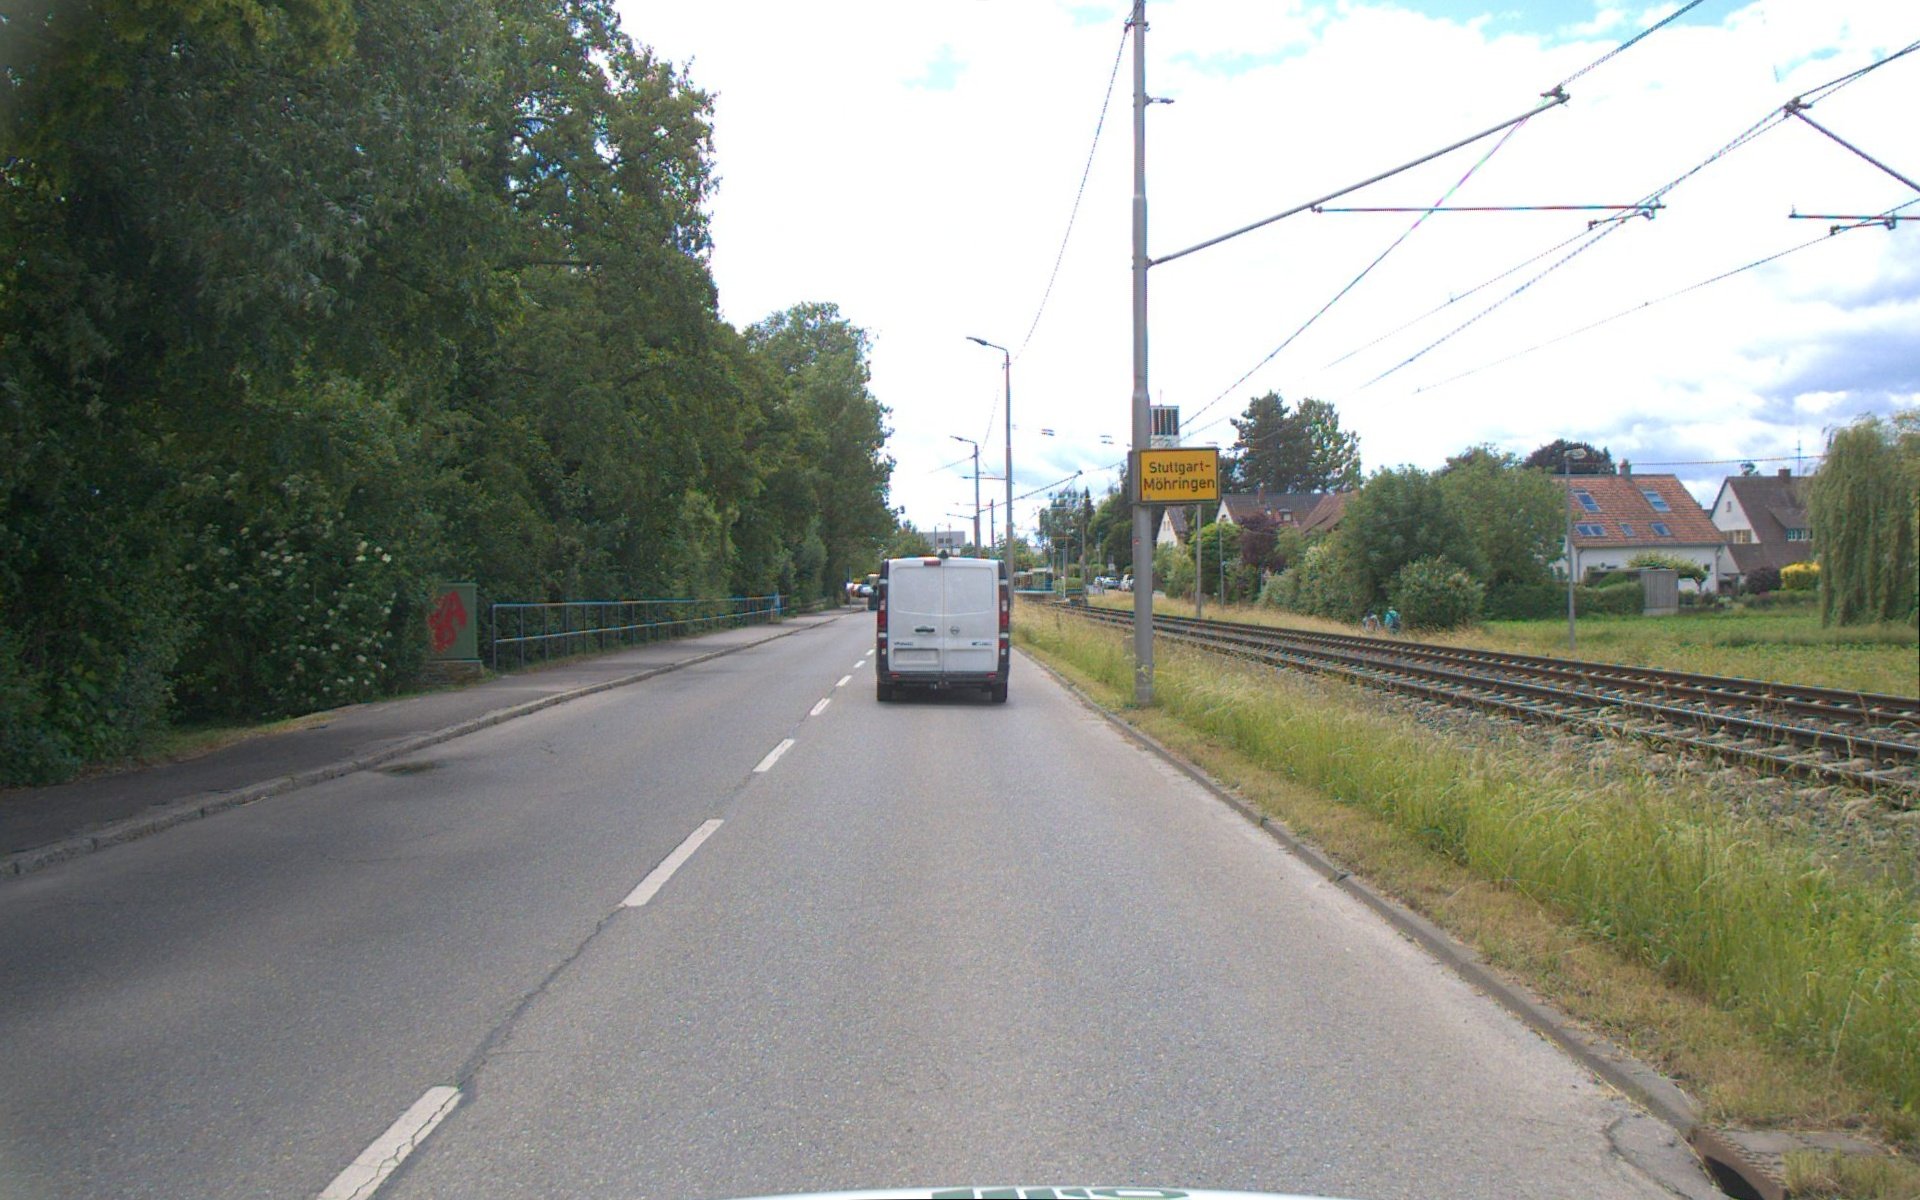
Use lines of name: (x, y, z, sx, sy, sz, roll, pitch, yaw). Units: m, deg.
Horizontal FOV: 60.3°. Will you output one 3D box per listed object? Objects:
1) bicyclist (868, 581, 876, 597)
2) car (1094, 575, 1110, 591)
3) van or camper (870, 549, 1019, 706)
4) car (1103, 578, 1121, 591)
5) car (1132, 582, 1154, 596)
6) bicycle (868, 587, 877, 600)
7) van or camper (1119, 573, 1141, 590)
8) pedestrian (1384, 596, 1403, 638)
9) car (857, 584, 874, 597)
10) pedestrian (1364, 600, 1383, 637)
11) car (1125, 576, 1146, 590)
bicyclist: (-9.194, -1.154, 173.583, 0.762, 1.576, 0.869, -1, 0, -2)
car: (18.662, -2.250, 218.145, 1.697, 1.947, 3.934, 1, 0, -1)
van or camper: (-0.228, 0.358, 24.067, 1.953, 2.049, 4.445, 0, 0, -1)
car: (19.209, -1.983, 209.597, 1.845, 1.548, 4.000, -1, 1, 0)
car: (19.592, -1.182, 177.100, 1.845, 1.548, 4.000, -1, 1, 0)
bicycle: (-9.184, -0.693, 173.481, 0.740, 1.248, 2.308, -3, 1, -1)
van or camper: (19.285, -2.090, 187.891, 1.866, 1.857, 5.047, -1, 1, 0)
pedestrian: (17.479, 0.681, 66.716, 0.604, 1.650, 0.584, 1, 0, -1)
car: (-11.367, -1.160, 198.669, 1.704, 1.531, 4.470, -3, 1, -7)
pedestrian: (16.679, 0.737, 66.711, 0.585, 1.455, 0.666, 1, 0, -1)
car: (19.386, -1.878, 183.172, 1.845, 1.548, 4.000, -1, 1, 0)
